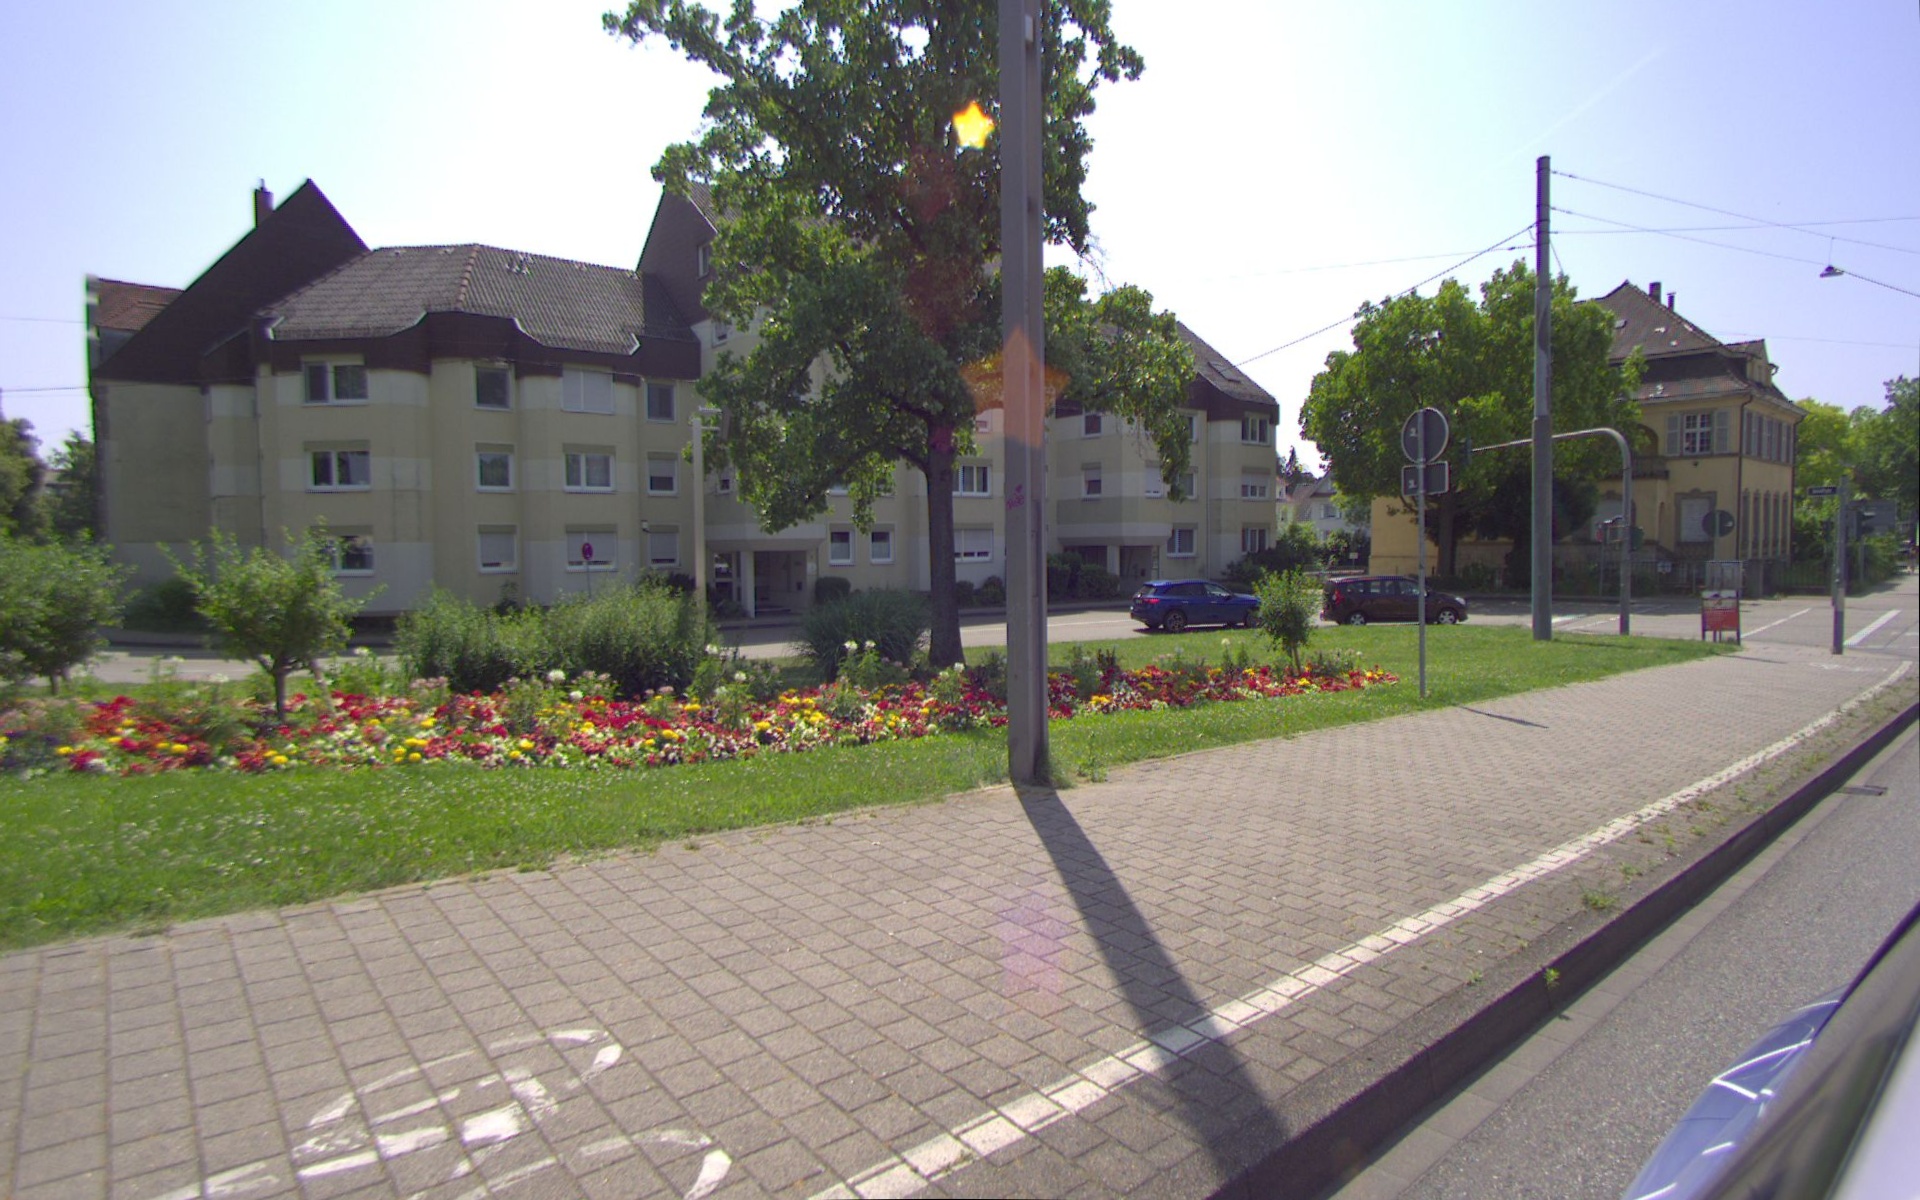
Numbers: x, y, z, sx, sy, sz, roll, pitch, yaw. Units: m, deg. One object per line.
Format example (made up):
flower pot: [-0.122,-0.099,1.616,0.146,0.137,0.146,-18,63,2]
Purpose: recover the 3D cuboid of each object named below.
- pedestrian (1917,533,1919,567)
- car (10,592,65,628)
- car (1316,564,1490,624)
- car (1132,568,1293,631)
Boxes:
pedestrian: [55.263,-2.851,57.955,0.732,1.941,0.620,-4,4,-43]
car: [-42.954,0.439,47.089,1.798,1.571,3.990,-2,1,-43]
car: [14.152,-0.216,32.560,4.735,1.651,1.916,-2,3,6]
car: [8.204,-0.053,33.028,4.670,1.721,2.005,-3,4,-12]
